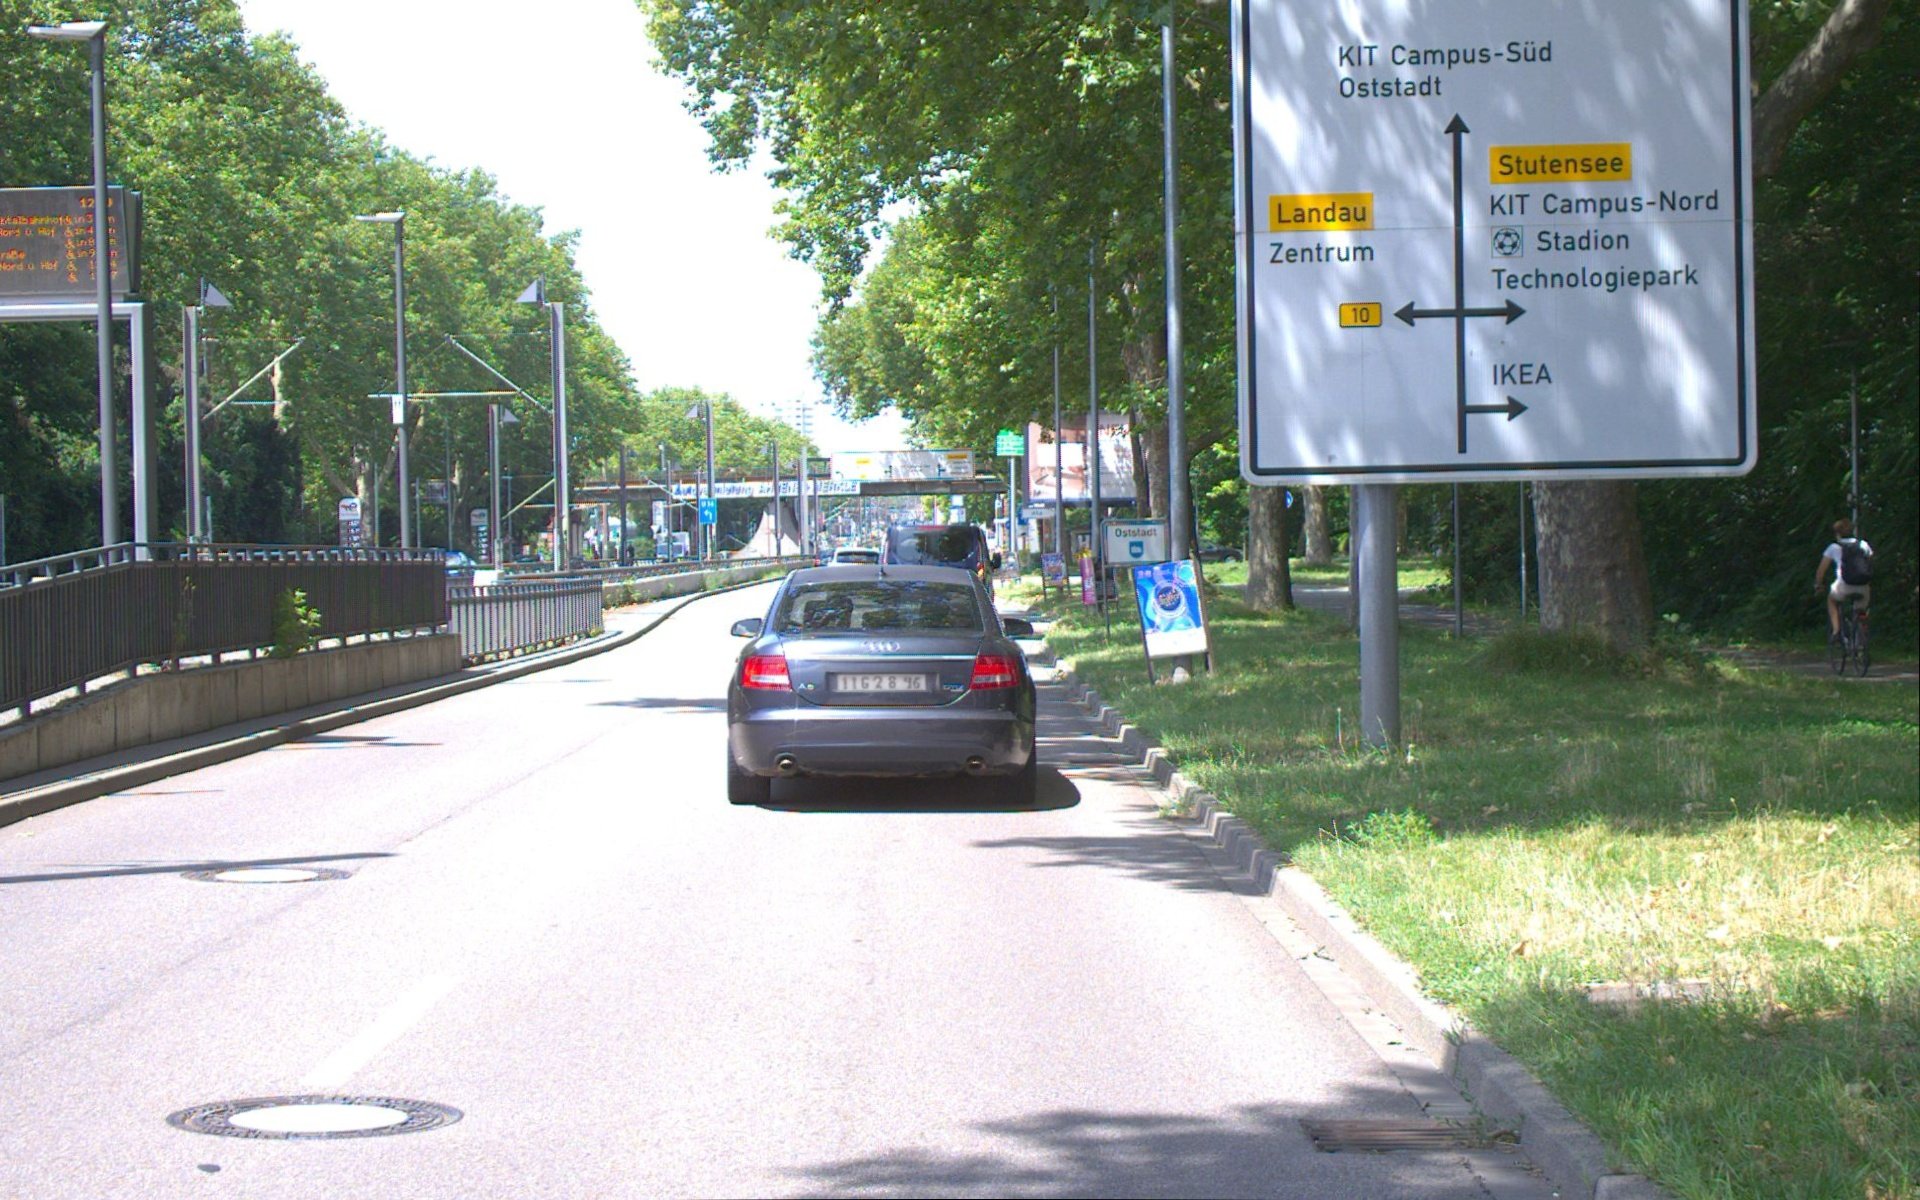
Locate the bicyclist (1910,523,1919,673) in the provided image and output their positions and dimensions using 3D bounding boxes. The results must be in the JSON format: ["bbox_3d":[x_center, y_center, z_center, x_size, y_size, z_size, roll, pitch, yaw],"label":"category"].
[{"bbox_3d":[10.541,-0.024,36.395,0.658,1.593,1.053,0,1,0],"label":"bicyclist"}]

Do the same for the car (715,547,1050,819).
[{"bbox_3d":[-0.573,0.432,21.311,1.842,1.479,4.001,-1,1,-4],"label":"car"}]

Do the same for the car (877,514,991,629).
[{"bbox_3d":[-0.424,-0.518,60.967,1.848,1.953,4.144,1,1,2],"label":"car"}]

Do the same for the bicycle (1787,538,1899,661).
[{"bbox_3d":[10.567,-0.033,41.206,0.610,1.415,2.662,-1,1,-1],"label":"bicycle"}]

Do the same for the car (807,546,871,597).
[{"bbox_3d":[-3.580,-0.854,101.951,1.845,1.459,4.000,-1,1,-2],"label":"car"}]

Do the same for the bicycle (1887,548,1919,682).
[{"bbox_3d":[10.511,0.160,36.416,0.610,1.415,2.662,-1,1,-1],"label":"bicycle"}]

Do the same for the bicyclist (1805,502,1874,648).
[{"bbox_3d":[10.577,-0.304,41.366,0.597,1.740,0.843,0,1,0],"label":"bicyclist"}]
